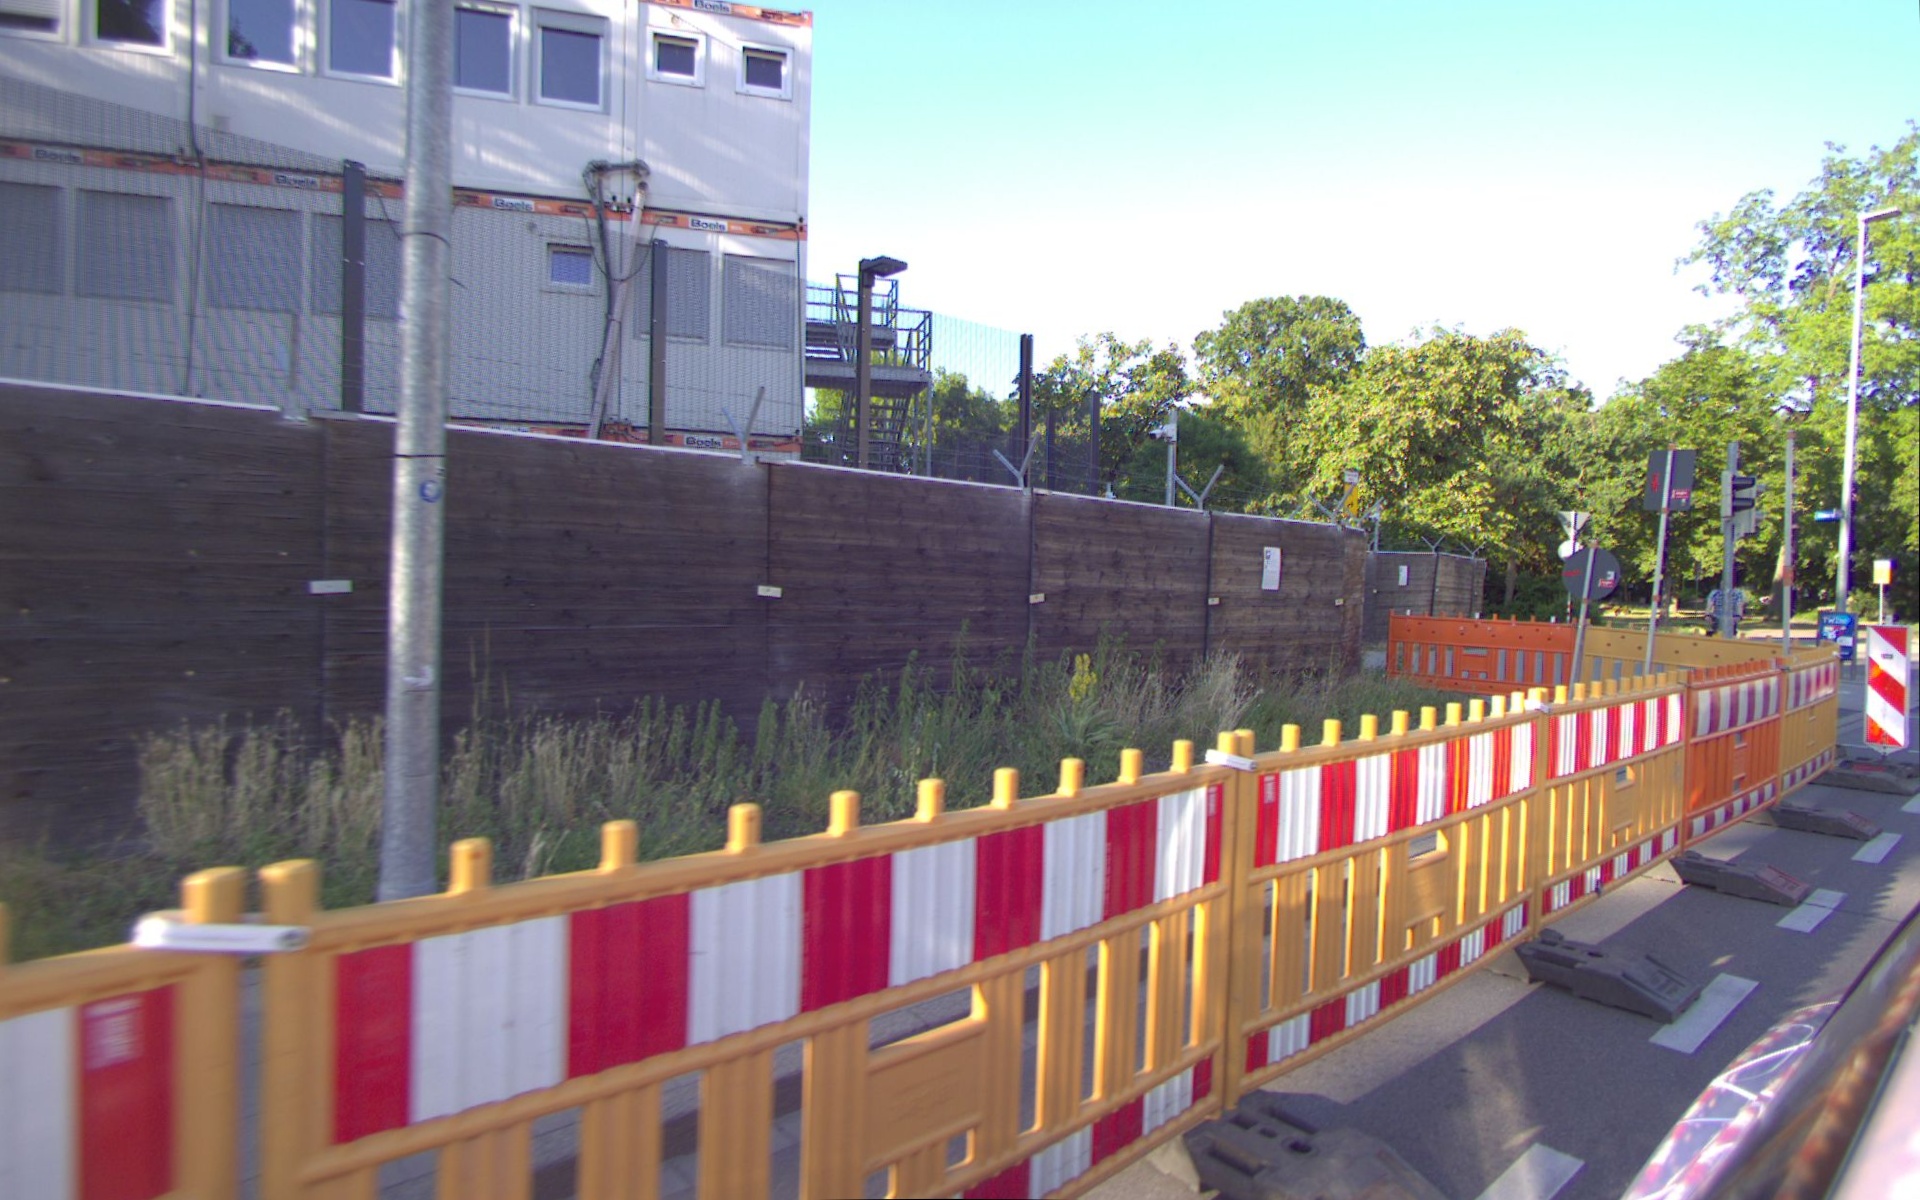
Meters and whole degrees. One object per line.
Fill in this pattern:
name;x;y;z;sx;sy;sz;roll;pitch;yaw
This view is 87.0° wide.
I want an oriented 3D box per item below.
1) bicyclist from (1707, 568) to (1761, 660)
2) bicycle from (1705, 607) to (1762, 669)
bicyclist;14.183;0.244;18.546;0.887;1.634;0.585;0;1;-41
bicycle;14.319;0.679;18.724;1.877;1.074;0.428;0;2;-40
